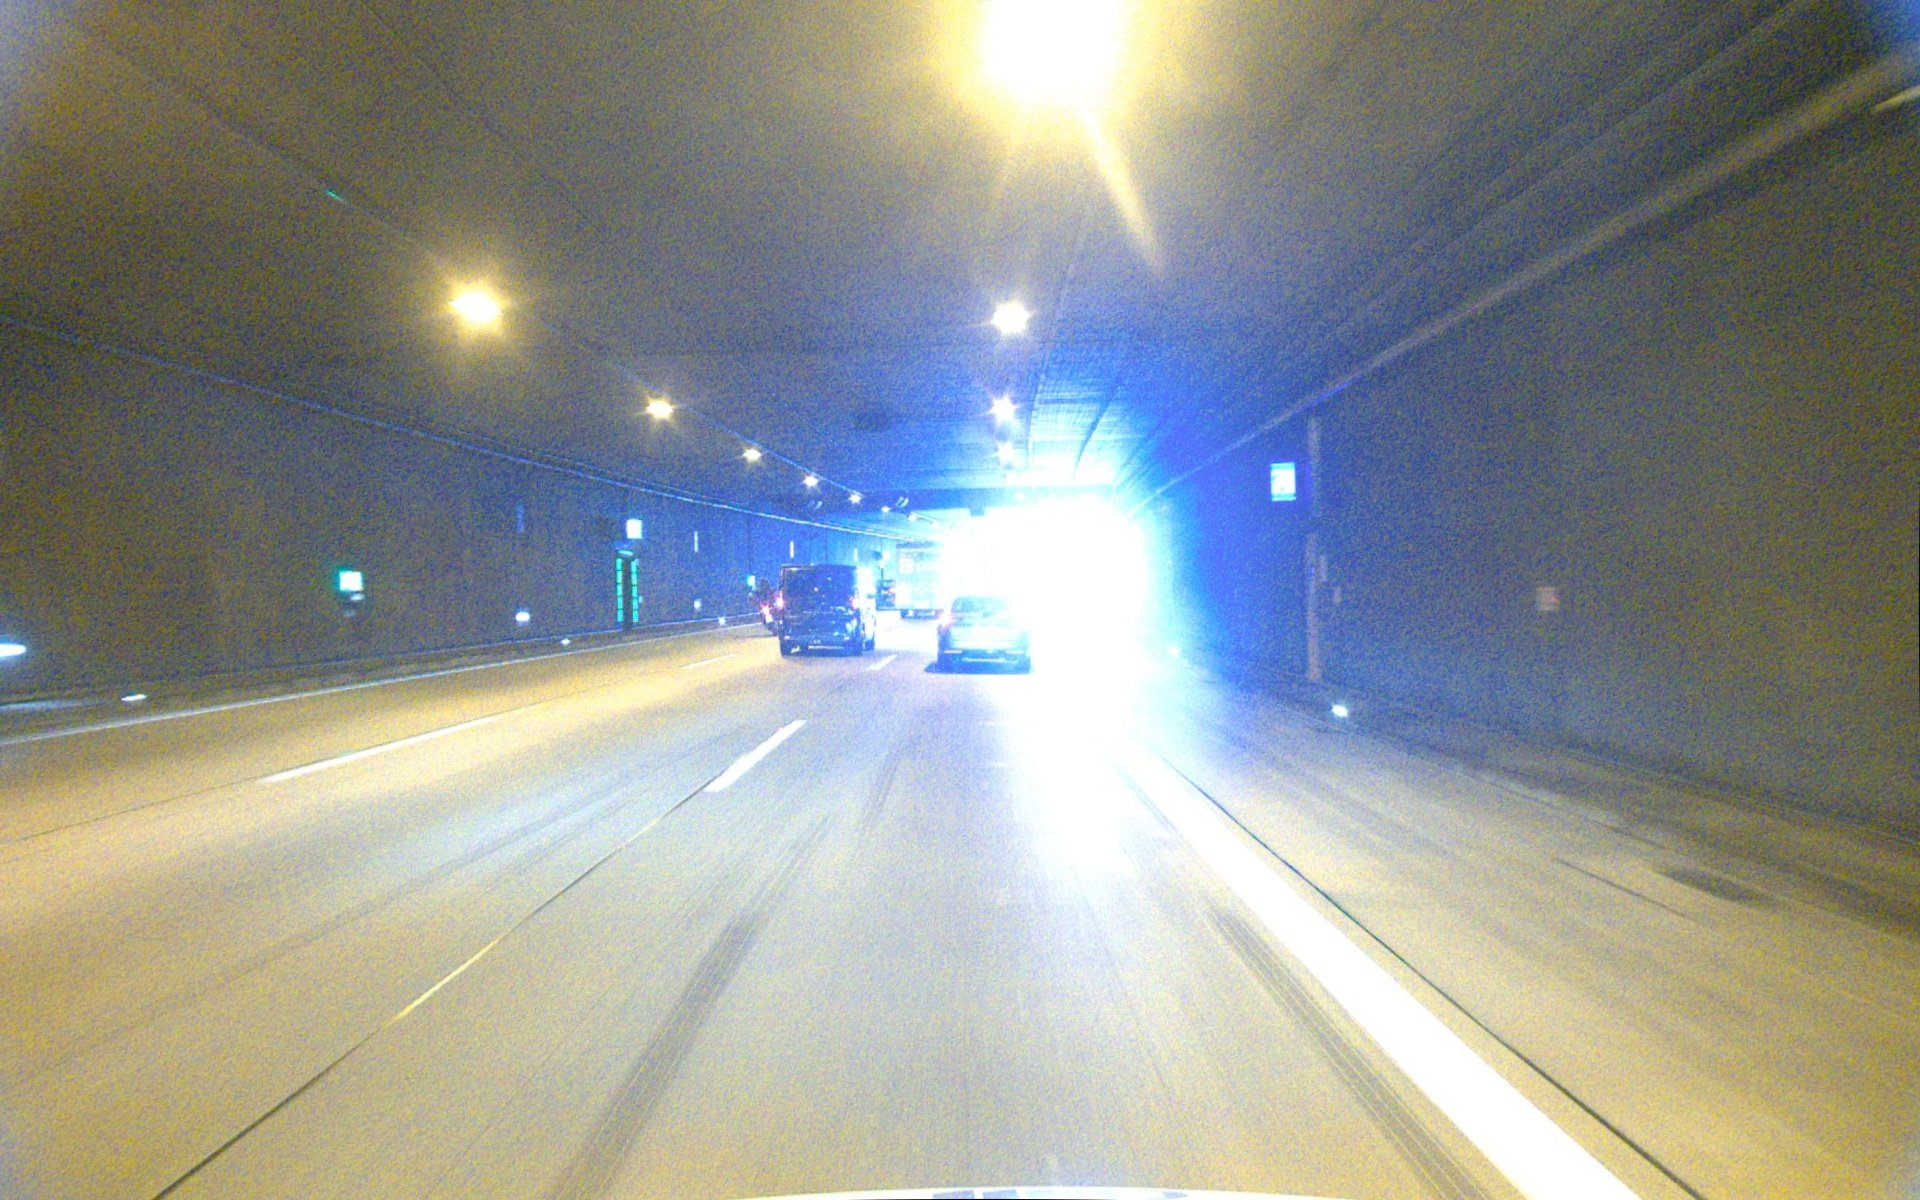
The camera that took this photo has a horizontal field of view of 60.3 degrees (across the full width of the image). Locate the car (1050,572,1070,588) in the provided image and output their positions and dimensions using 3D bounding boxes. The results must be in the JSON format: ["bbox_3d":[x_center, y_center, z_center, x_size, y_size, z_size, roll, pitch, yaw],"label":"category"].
[{"bbox_3d":[11.944,-2.380,197.211,1.889,1.671,4.003,-1,-2,10],"label":"car"}]

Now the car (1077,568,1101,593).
[{"bbox_3d":[11.892,-1.785,152.454,1.952,2.049,4.000,0,-2,1],"label":"car"}]

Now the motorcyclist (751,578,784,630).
[{"bbox_3d":[-5.592,0.120,48.130,0.761,1.478,1.069,0,-2,4],"label":"motorcyclist"}]

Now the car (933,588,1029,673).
[{"bbox_3d":[0.405,0.542,31.796,1.706,1.489,3.872,0,1,1],"label":"car"}]

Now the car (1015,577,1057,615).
[{"bbox_3d":[3.829,-0.171,82.850,1.909,1.803,4.002,0,-2,5],"label":"car"}]

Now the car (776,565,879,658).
[{"bbox_3d":[-2.932,0.215,37.335,1.870,1.978,3.872,0,1,2],"label":"car"}]

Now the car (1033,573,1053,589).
[{"bbox_3d":[9.075,-2.092,179.940,1.889,1.671,4.003,0,0,7],"label":"car"}]

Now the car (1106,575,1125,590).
[{"bbox_3d":[17.425,-1.980,185.520,1.889,1.671,4.003,1,0,8],"label":"car"}]

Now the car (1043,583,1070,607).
[{"bbox_3d":[7.236,-0.383,124.278,1.890,1.671,4.000,0,-2,1],"label":"car"}]

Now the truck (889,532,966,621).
[{"bbox_3d":[-1.357,-1.012,73.215,2.976,3.737,7.394,0,0,2],"label":"truck"}]

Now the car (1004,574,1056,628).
[{"bbox_3d":[2.574,0.028,59.965,1.818,1.887,4.002,0,0,3],"label":"car"}]

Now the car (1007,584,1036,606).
[{"bbox_3d":[4.963,-0.383,132.137,1.951,1.660,4.003,0,-1,7],"label":"car"}]

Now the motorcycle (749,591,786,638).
[{"bbox_3d":[-5.592,0.436,48.137,0.668,1.320,2.399,0,-1,3],"label":"motorcycle"}]
